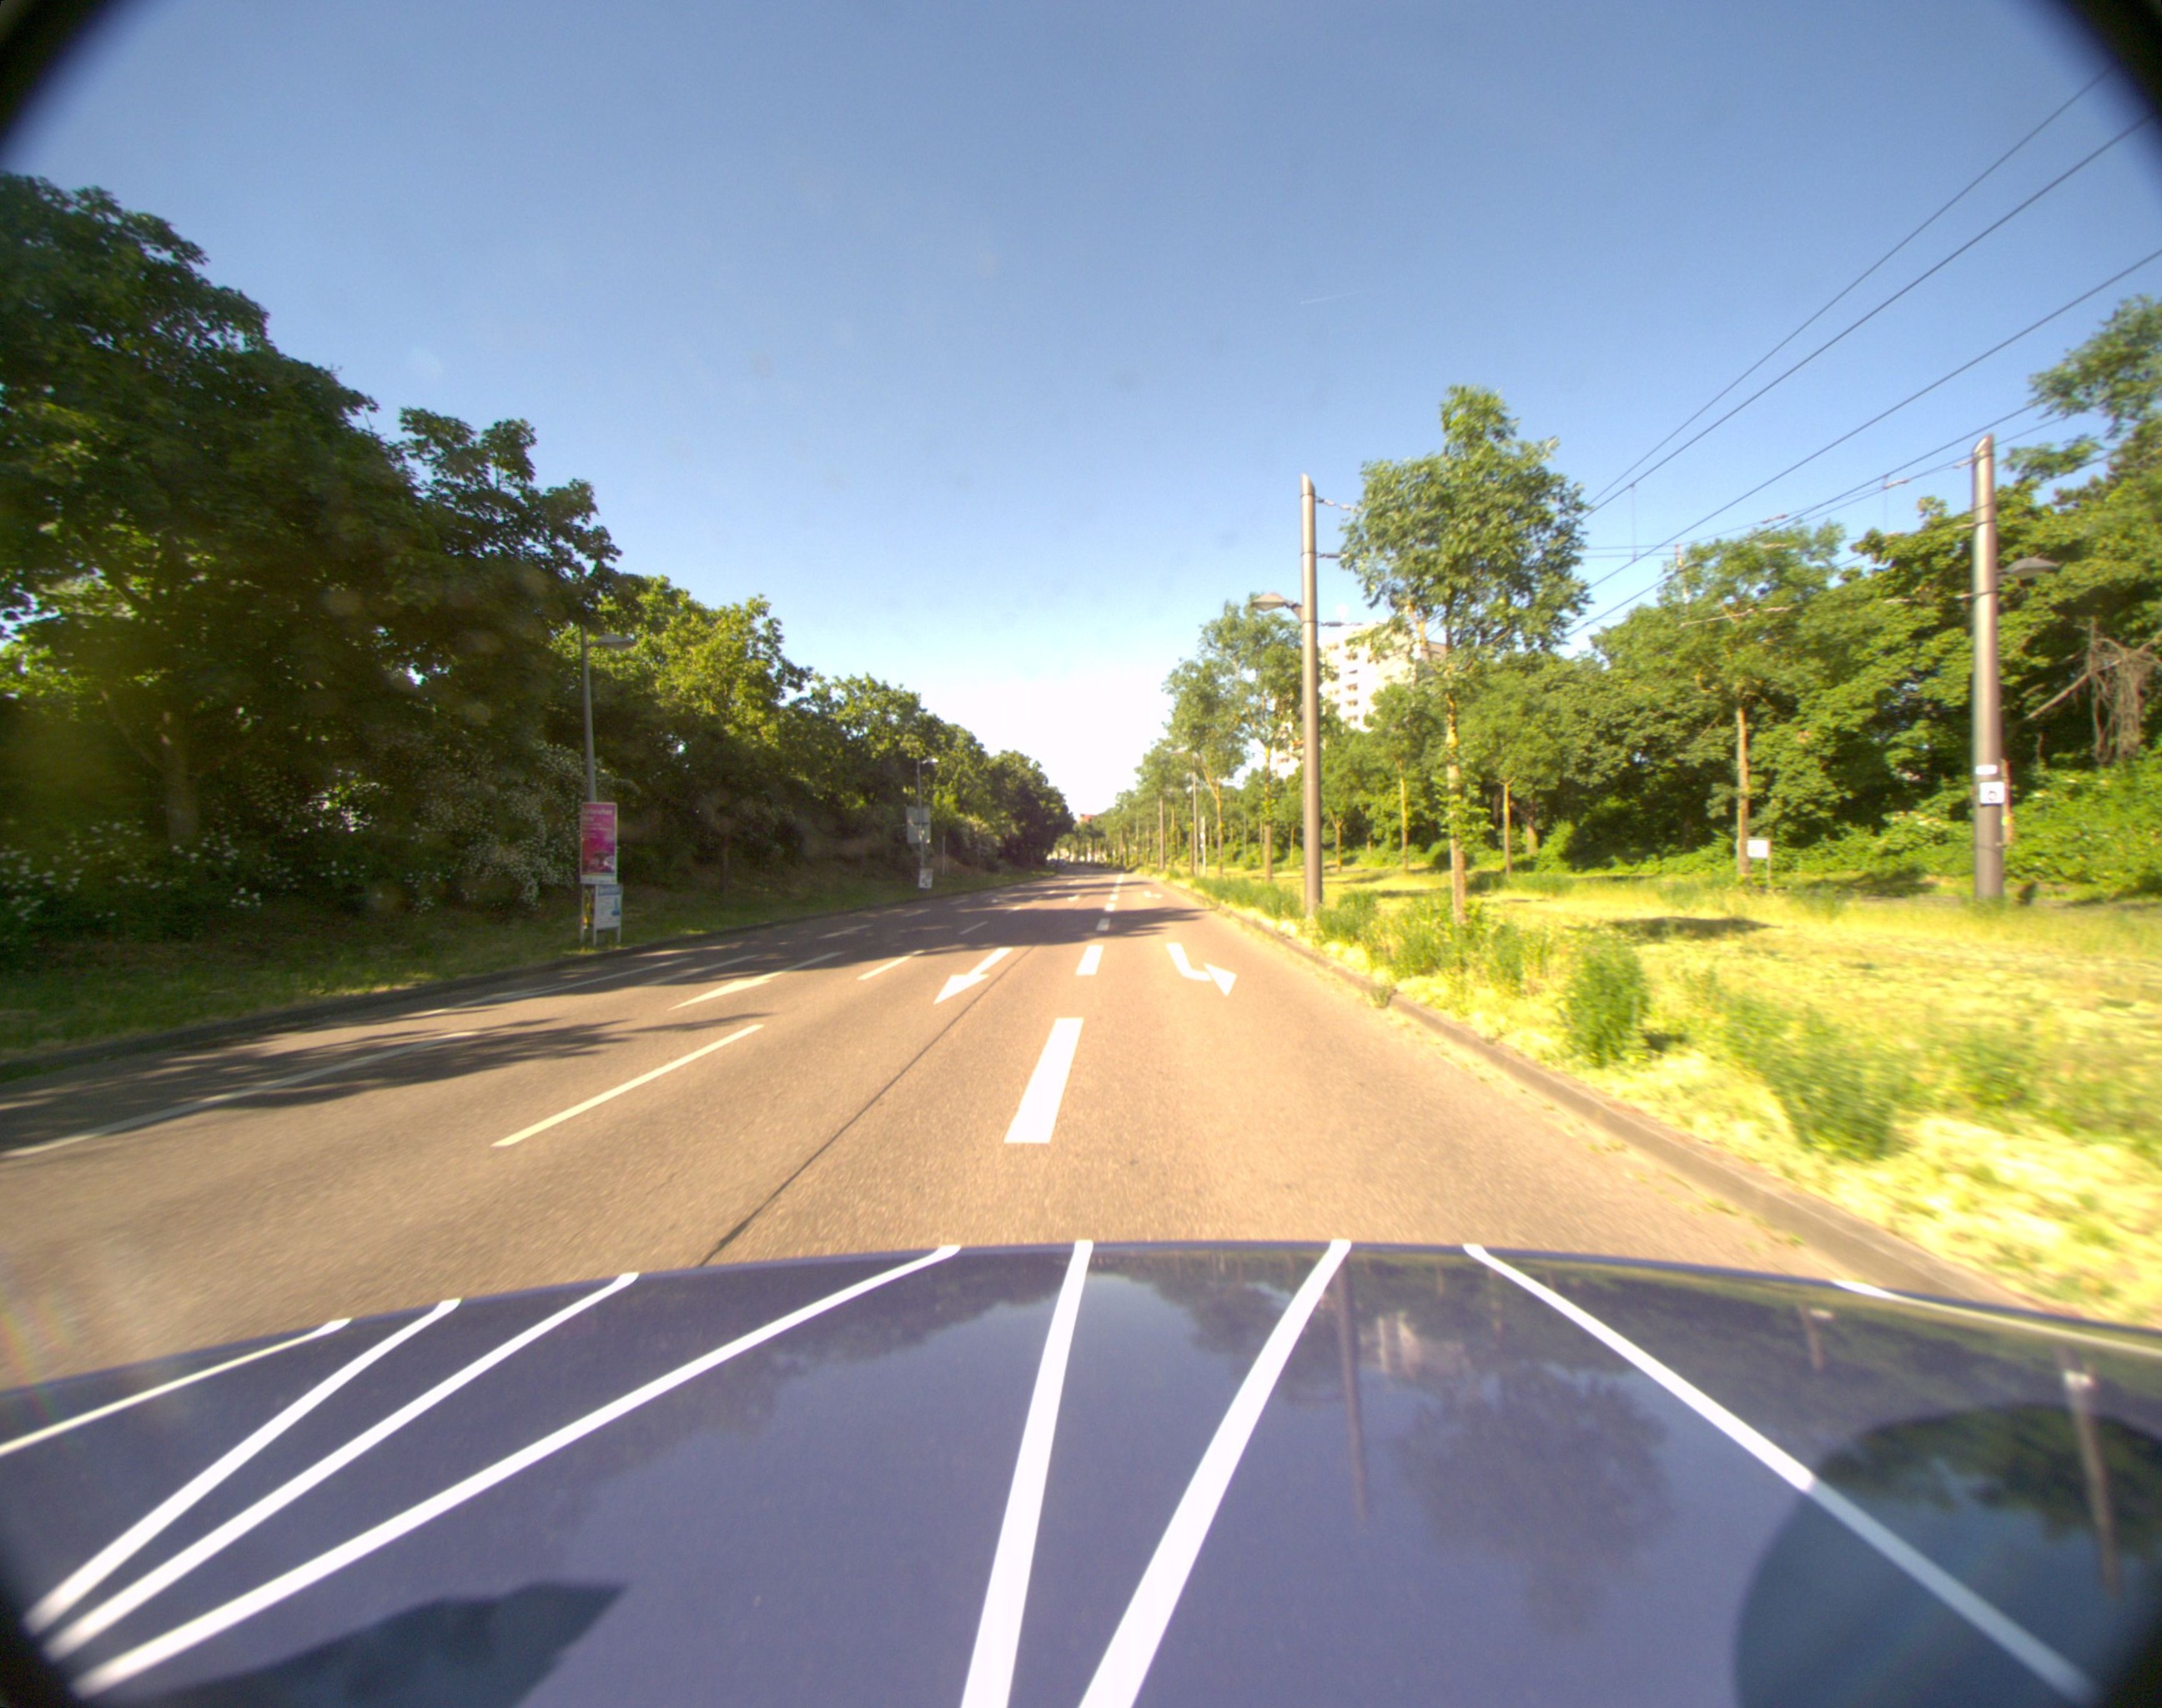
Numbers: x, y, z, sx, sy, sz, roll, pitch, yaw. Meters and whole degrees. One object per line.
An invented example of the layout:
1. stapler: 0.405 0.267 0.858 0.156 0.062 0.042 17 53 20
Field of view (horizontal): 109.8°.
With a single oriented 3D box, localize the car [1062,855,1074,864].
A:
1. car: -2.335 0.924 135.342 1.672 1.531 4.061 -4 0 4
